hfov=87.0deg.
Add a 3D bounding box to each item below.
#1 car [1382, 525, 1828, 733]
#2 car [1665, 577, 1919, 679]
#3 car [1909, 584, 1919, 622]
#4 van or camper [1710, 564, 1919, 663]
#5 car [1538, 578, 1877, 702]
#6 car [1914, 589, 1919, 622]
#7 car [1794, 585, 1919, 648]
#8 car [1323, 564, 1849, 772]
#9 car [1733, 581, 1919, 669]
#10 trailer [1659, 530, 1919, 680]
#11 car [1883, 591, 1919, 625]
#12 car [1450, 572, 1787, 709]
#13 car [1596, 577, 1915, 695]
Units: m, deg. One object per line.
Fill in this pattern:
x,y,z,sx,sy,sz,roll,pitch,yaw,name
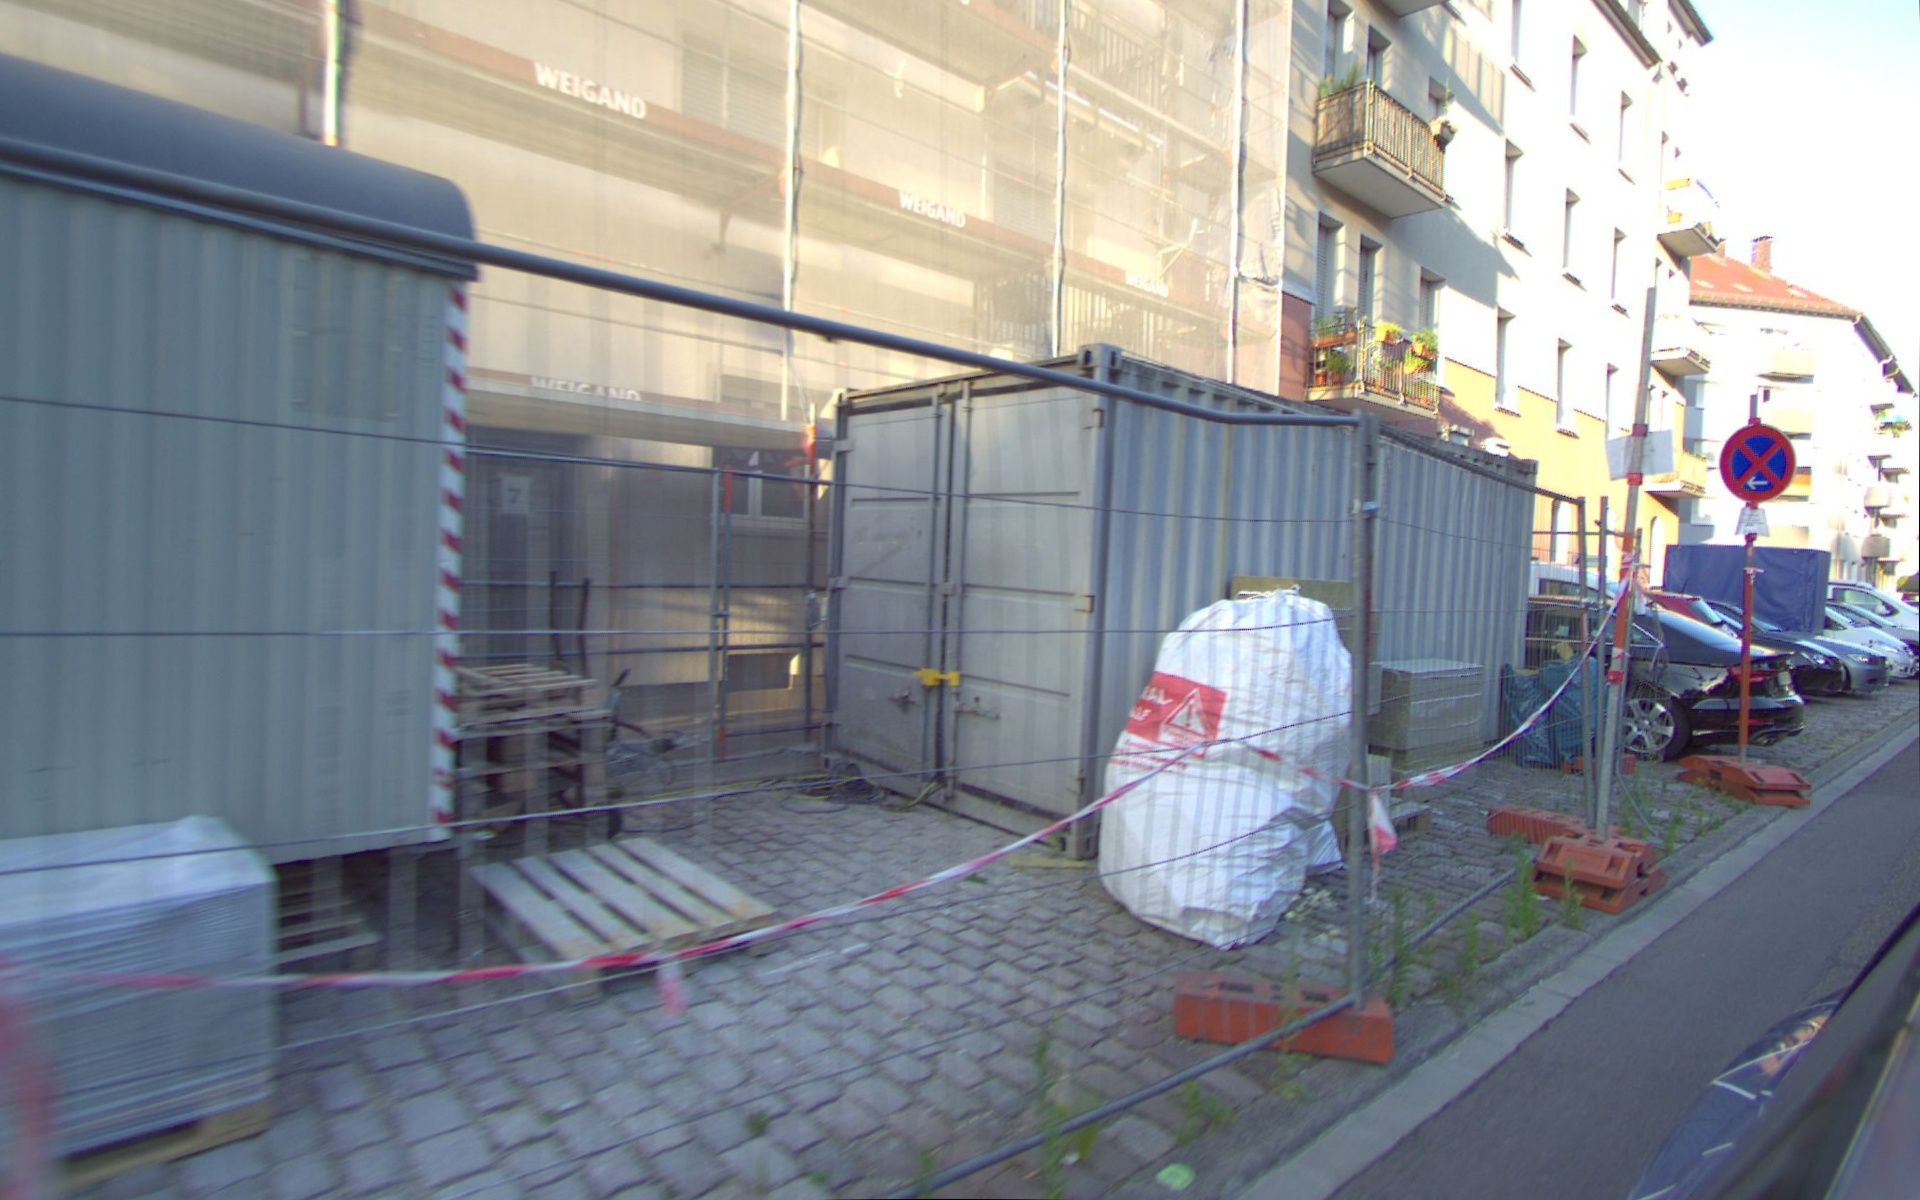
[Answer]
7.738,0.204,12.435,4.268,2.004,1.793,6,3,44,car
16.610,0.460,20.070,1.966,1.749,3.993,-1,3,-42,car
52.314,0.230,52.203,1.965,2.025,4.683,1,1,-40,car
20.631,0.267,23.490,2.005,2.122,4.842,0,2,-42,van or camper
11.426,0.510,15.655,1.759,1.591,3.968,0,2,-44,car
50.200,0.357,50.275,1.755,1.649,3.991,0,2,-43,car
25.807,0.455,27.945,1.824,1.605,4.106,0,2,-44,car
6.089,0.488,10.273,1.838,1.635,4.163,0,2,-39,car
18.969,0.483,21.301,1.966,1.660,3.992,-1,2,-43,car
15.220,-0.004,18.513,1.909,2.365,3.572,0,4,-44,trailer
46.237,0.438,47.332,1.889,1.560,4.310,0,2,-40,car
9.223,0.463,14.376,1.716,1.630,3.696,0,2,-43,car
13.246,0.499,17.011,1.872,1.658,3.991,0,2,-44,car
